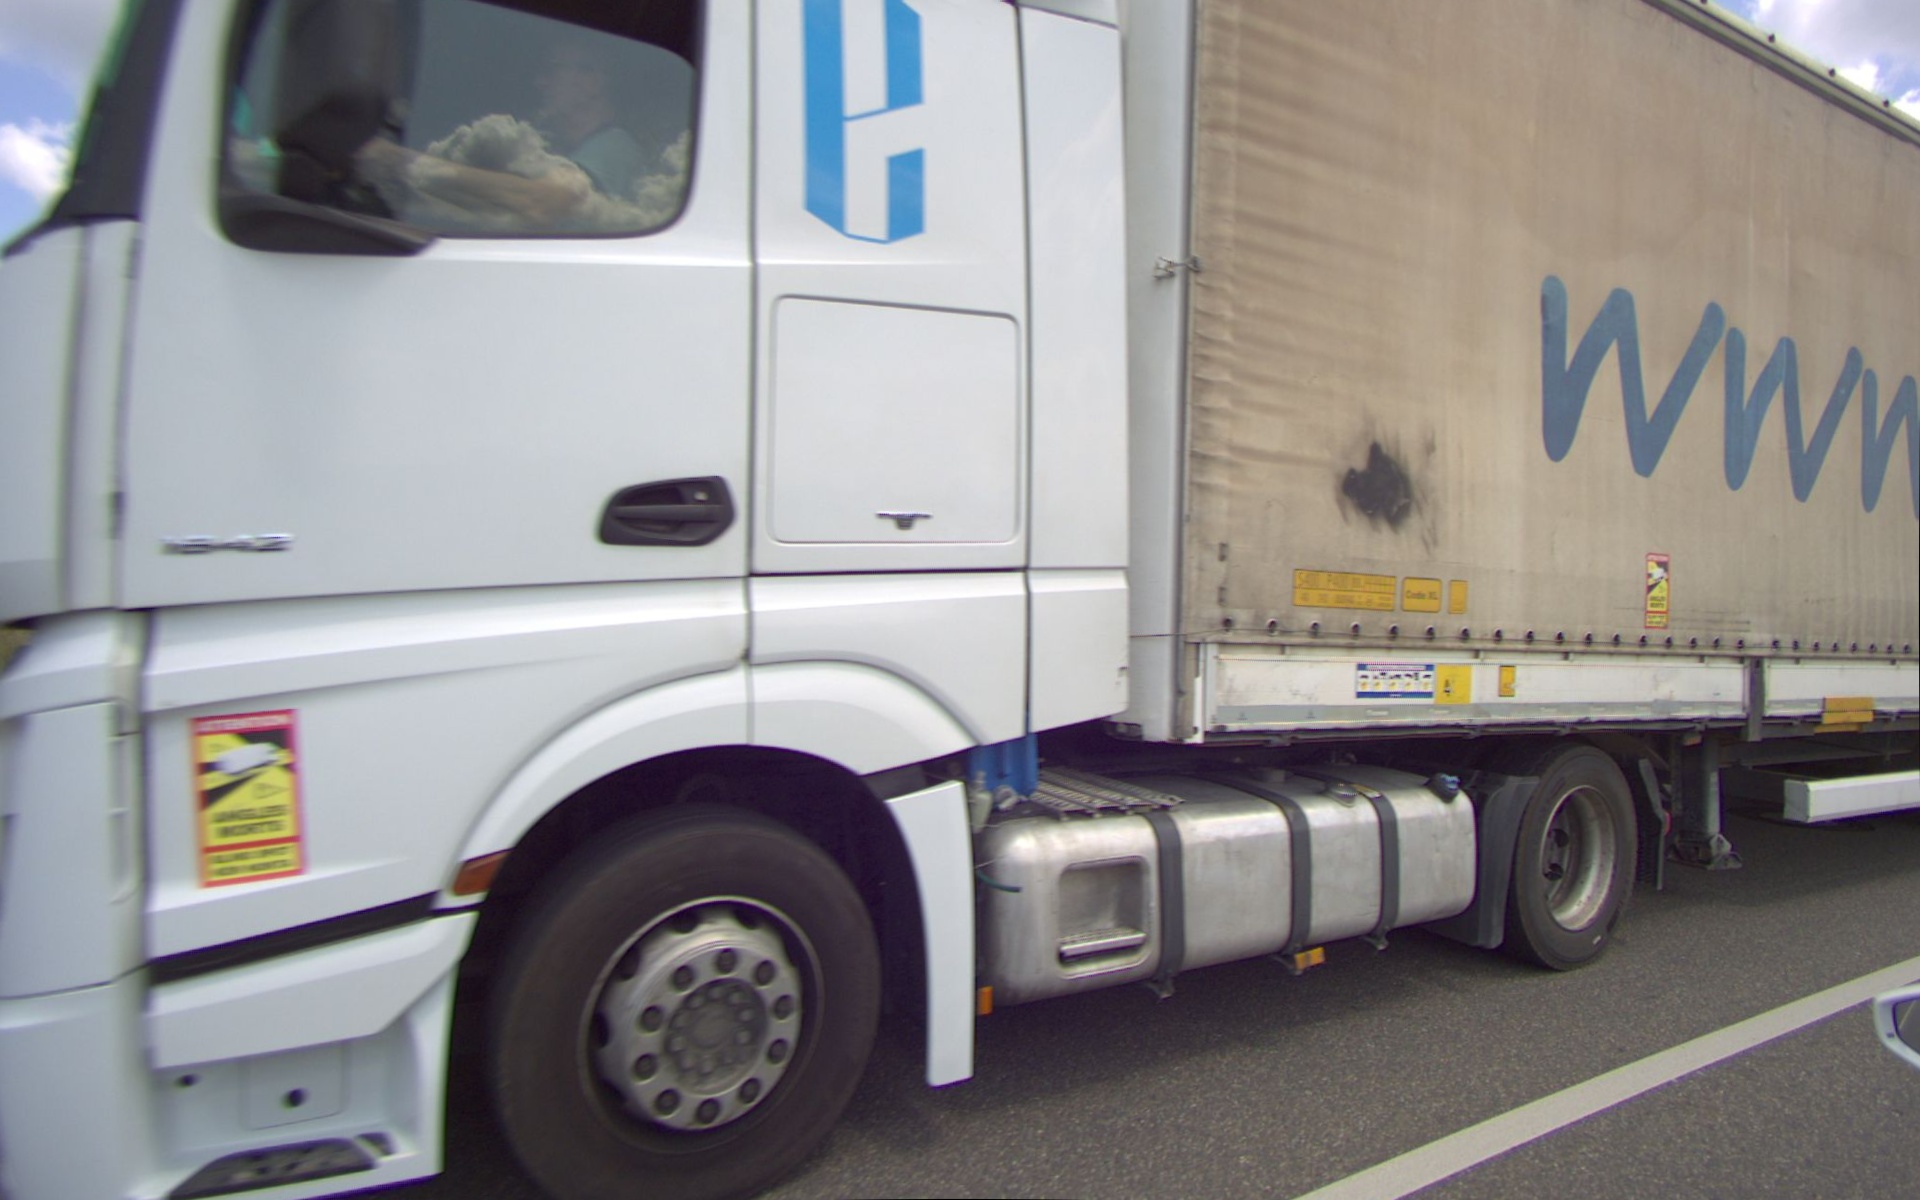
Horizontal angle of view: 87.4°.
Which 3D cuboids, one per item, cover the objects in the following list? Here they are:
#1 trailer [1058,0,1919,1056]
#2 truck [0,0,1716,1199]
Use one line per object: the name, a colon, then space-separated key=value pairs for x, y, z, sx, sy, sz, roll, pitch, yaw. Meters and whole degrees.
trailer: x=7.452 y=-0.410 z=7.961 sx=14.046 sy=4.336 sz=2.697 roll=1 pitch=-1 yaw=-27
truck: x=0.099 y=-0.504 z=4.146 sx=5.582 sy=4.189 sz=2.751 roll=1 pitch=-1 yaw=-28
